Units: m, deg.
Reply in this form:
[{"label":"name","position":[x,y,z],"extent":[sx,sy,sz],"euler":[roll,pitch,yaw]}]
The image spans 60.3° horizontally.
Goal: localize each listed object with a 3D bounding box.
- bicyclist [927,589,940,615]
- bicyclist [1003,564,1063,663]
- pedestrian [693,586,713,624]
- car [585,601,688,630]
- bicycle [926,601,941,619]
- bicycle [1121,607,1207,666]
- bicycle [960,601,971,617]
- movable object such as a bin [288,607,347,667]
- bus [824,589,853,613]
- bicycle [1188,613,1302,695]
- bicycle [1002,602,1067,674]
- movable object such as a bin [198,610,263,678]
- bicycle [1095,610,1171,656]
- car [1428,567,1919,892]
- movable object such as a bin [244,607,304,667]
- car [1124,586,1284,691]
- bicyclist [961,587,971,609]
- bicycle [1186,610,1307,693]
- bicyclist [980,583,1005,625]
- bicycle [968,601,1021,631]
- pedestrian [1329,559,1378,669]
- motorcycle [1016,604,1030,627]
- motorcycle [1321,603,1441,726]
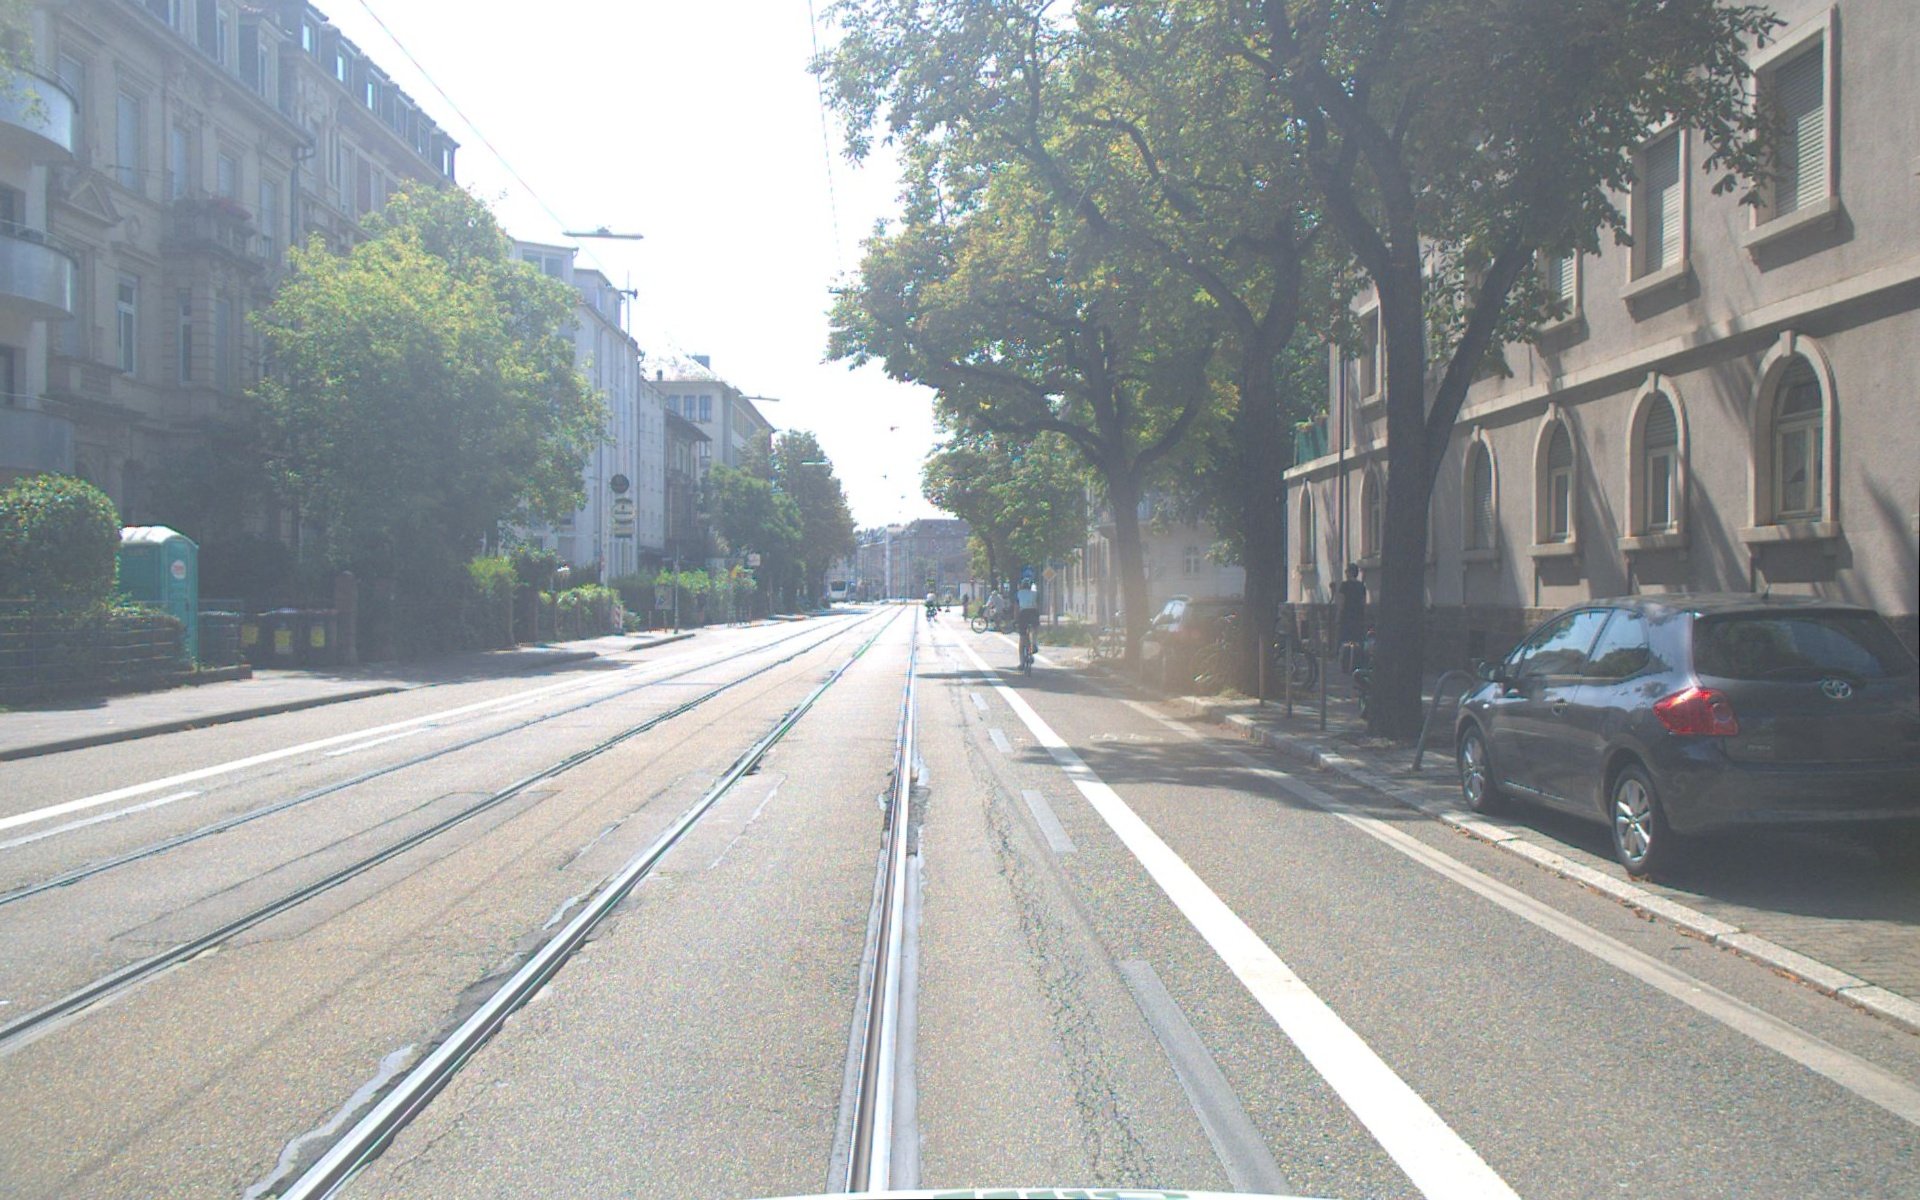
[{"label":"bicyclist","position":[-1.494,0.116,93.399],"extent":[0.743,1.416,0.779],"euler":[0,0,0]},{"label":"bicyclist","position":[1.396,0.247,31.775],"extent":[1.102,1.869,0.955],"euler":[0,0,-1]},{"label":"pedestrian","position":[-12.035,0.227,77.533],"extent":[0.764,1.787,1.040],"euler":[-1,0,-1]},{"label":"car","position":[-14.671,0.706,75.164],"extent":[4.141,1.205,2.001],"euler":[-1,0,19]},{"label":"bicycle","position":[-1.491,0.537,93.367],"extent":[0.743,1.008,2.298],"euler":[0,0,1]},{"label":"bicycle","position":[4.053,0.729,32.918],"extent":[1.686,1.156,0.377],"euler":[0,0,5]},{"label":"bicycle","position":[0.333,0.517,96.728],"extent":[0.576,0.955,2.172],"euler":[0,0,1]},{"label":"movable object such as a bin","position":[-12.155,0.697,31.305],"extent":[0.770,1.094,0.803],"euler":[1,0,1]},{"label":"bus","position":[-17.936,0.133,244.938],"extent":[3.660,3.423,15.113],"euler":[0,0,-2]},{"label":"bicycle","position":[4.025,0.759,23.413],"extent":[1.572,1.123,0.399],"euler":[0,0,5]},{"label":"bicycle","position":[1.408,0.701,31.747],"extent":[1.124,1.291,2.712],"euler":[0,0,0]},{"label":"movable object such as a bin","position":[-12.269,0.735,27.837],"extent":[0.771,1.094,0.754],"euler":[1,0,-3]},{"label":"bicycle","position":[3.947,0.750,37.814],"extent":[1.678,1.050,0.566],"euler":[0,0,-1]},{"label":"car","position":[4.486,0.612,10.407],"extent":[1.803,1.558,4.114],"euler":[-1,2,-2]},{"label":"movable object such as a bin","position":[-12.952,0.684,31.246],"extent":[0.770,1.094,0.803],"euler":[1,0,1]},{"label":"car","position":[3.990,0.576,27.802],"extent":[1.803,1.559,4.778],"euler":[-1,0,-2]},{"label":"bicyclist","position":[0.332,-0.118,96.712],"extent":[0.567,1.301,0.471],"euler":[0,0,1]},{"label":"bicycle","position":[4.113,0.740,23.802],"extent":[1.686,1.169,0.377],"euler":[0,0,5]},{"label":"bicyclist","position":[1.302,0.147,66.261],"extent":[0.806,1.671,0.786],"euler":[0,0,17]},{"label":"bicycle","position":[1.369,0.648,66.248],"extent":[1.992,1.171,0.786],"euler":[0,0,17]},{"label":"pedestrian","position":[6.937,0.242,29.210],"extent":[0.692,1.925,0.714],"euler":[0,0,0]},{"label":"motorcycle","position":[3.017,0.728,79.884],"extent":[0.538,1.086,2.330],"euler":[0,0,-1]},{"label":"motorcycle","position":[4.719,0.689,18.676],"extent":[0.696,1.277,2.175],"euler":[0,0,-3]}]
